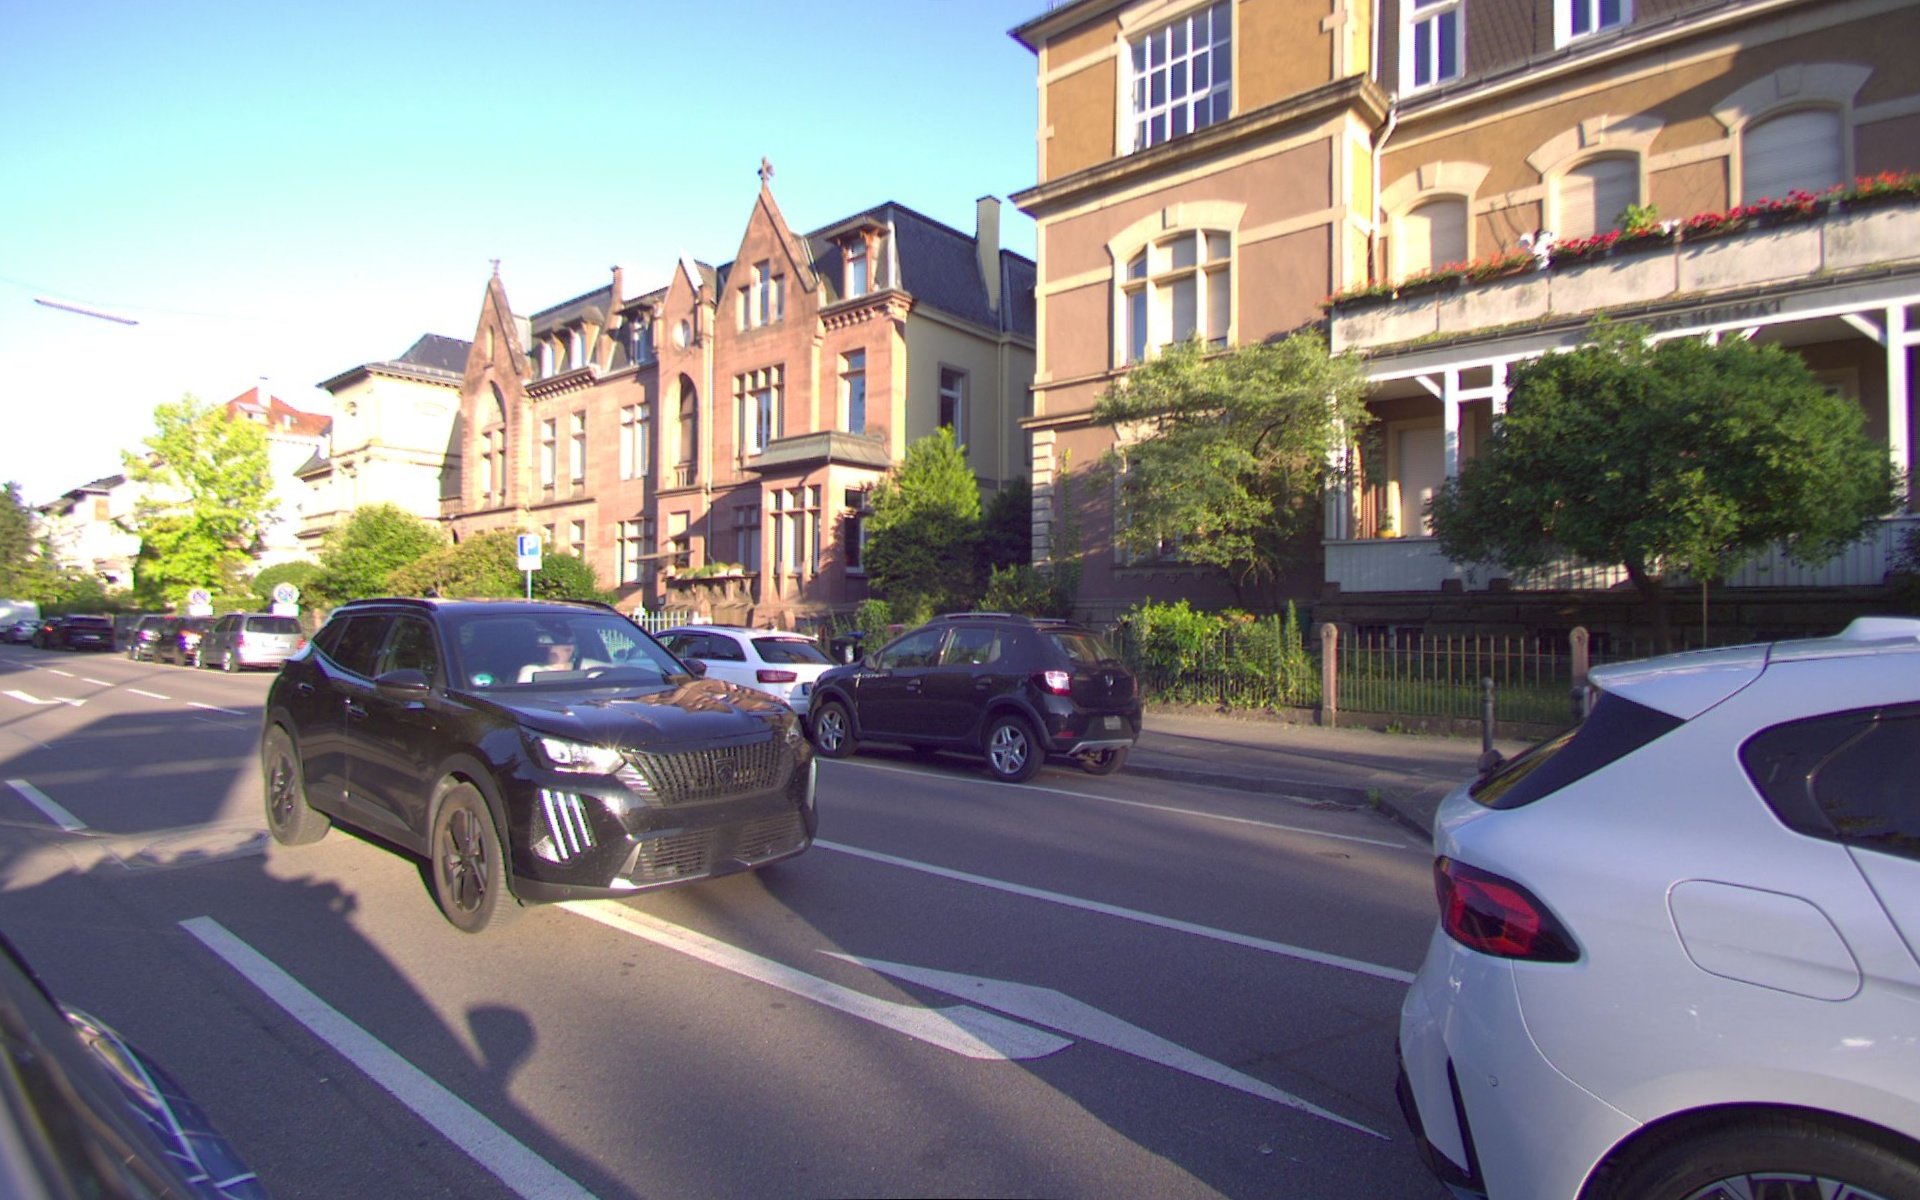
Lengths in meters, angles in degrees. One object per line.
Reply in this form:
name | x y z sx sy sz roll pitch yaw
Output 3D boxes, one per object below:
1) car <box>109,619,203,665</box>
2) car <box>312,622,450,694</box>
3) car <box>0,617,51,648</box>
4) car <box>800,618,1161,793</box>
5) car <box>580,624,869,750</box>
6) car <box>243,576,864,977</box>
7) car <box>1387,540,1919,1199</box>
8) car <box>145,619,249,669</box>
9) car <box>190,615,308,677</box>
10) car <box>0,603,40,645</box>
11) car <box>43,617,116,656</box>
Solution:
car | -27.238 1.403 34.252 3.719 1.461 1.694 -1 -3 39
car | -12.714 1.221 22.148 3.566 1.456 1.610 -1 -3 43
car | -51.095 1.768 55.249 3.852 1.617 1.693 -1 -3 41
car | 0.109 1.016 10.852 3.722 1.546 1.610 -1 -5 43
car | -3.338 1.097 13.814 4.432 1.454 1.587 -1 -5 43
car | -2.548 0.730 5.864 3.997 1.547 1.661 -1 -2 40
car | 2.972 0.649 1.257 4.185 1.477 1.734 -1 -2 40
car | -23.655 1.349 31.337 3.719 1.461 1.694 -1 -3 39
car | -19.821 1.257 28.166 3.749 1.601 1.694 -1 -3 39
car | -56.278 1.417 59.602 5.874 2.387 2.203 -1 -3 40
car | -37.967 1.552 43.597 3.721 1.617 1.856 -1 -3 41
